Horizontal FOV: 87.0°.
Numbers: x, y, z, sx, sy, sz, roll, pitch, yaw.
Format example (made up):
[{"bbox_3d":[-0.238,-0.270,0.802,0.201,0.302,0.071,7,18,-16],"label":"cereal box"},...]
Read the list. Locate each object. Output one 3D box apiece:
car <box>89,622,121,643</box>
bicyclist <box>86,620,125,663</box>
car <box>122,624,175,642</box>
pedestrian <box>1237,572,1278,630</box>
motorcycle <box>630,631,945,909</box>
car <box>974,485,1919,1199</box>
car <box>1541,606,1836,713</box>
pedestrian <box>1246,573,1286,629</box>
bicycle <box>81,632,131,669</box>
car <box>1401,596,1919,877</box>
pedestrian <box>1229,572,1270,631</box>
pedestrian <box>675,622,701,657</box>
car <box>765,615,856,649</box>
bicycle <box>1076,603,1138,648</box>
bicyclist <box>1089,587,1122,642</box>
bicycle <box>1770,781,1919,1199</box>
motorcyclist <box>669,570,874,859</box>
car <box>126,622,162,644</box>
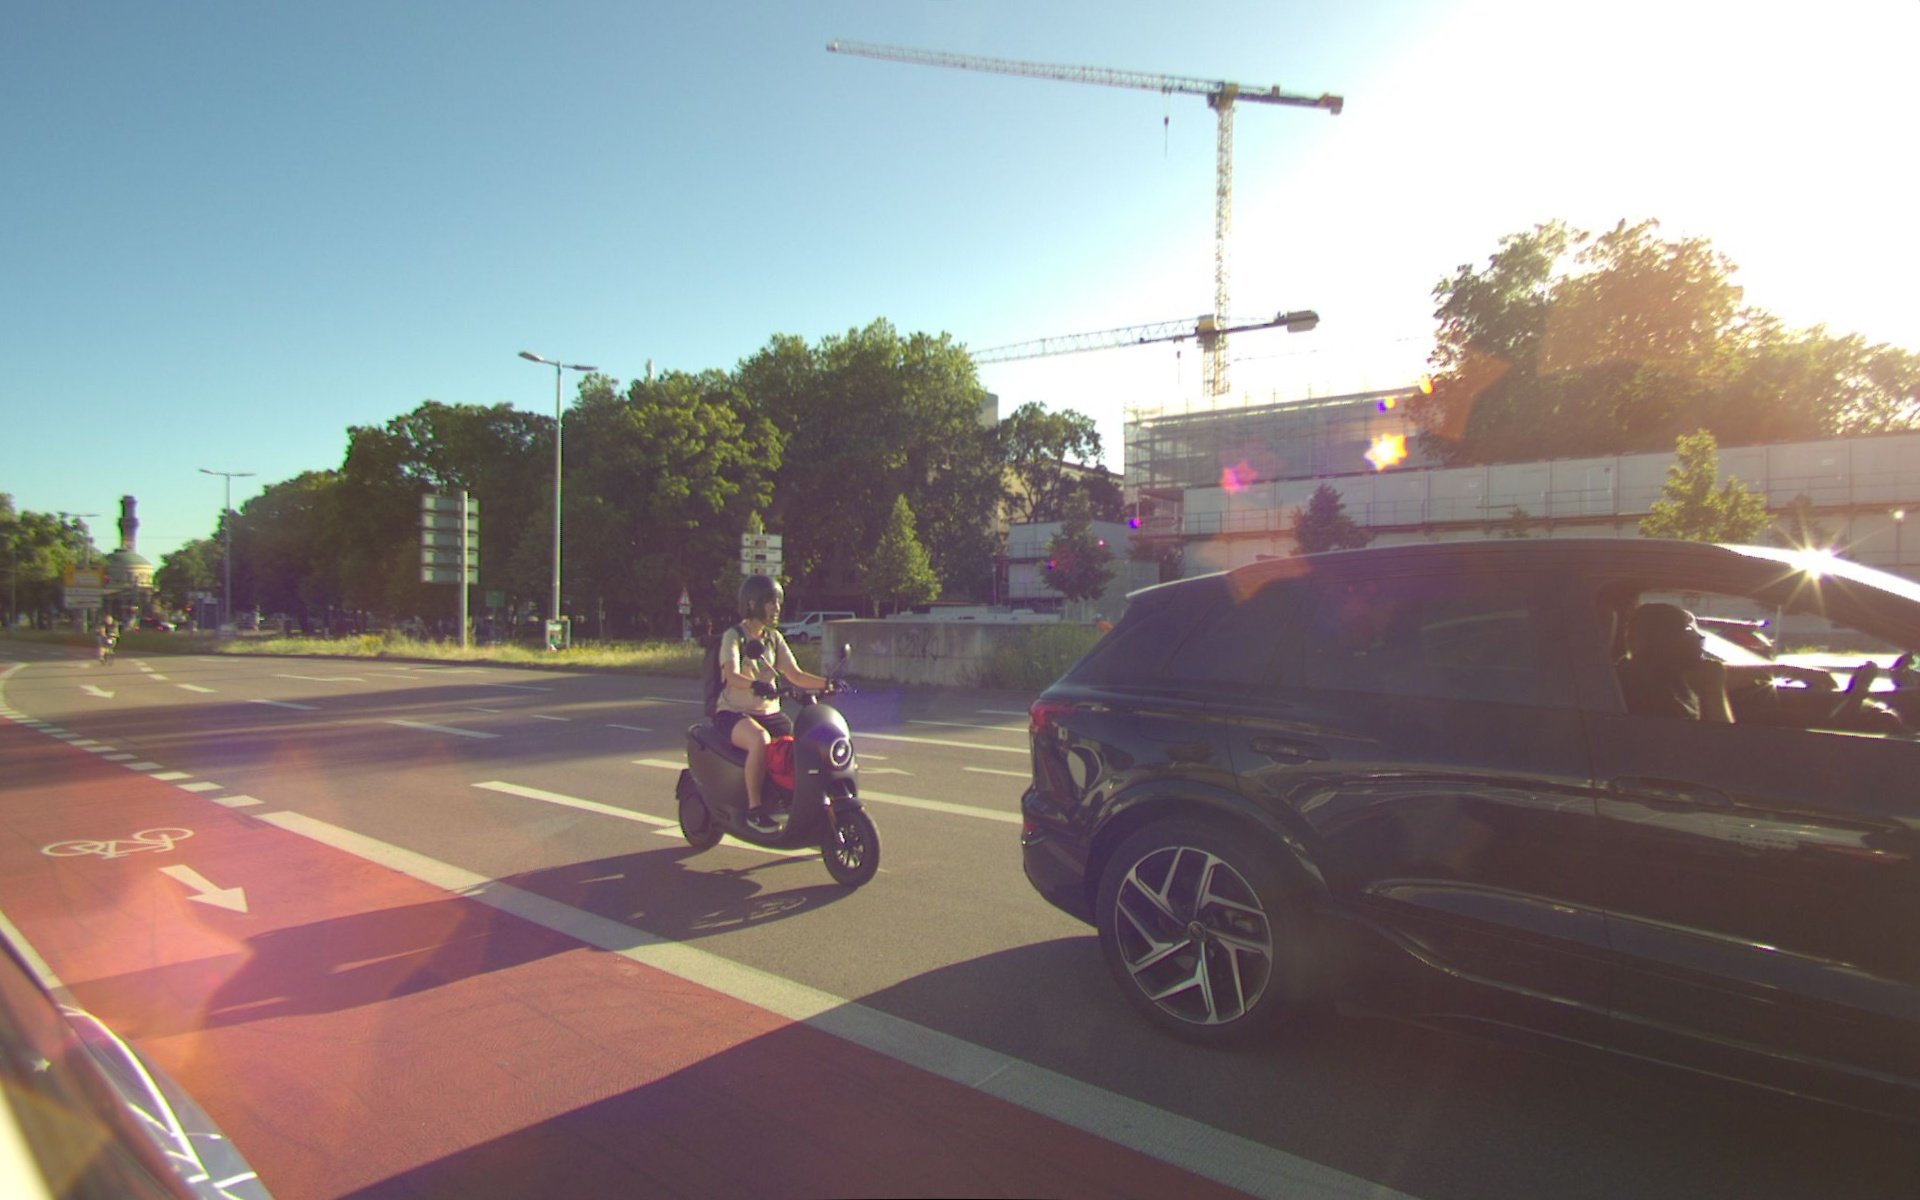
[{"bbox_3d":[-79.871,3.023,94.528,3.945,1.802,1.725,-1,0,41],"label":"car"},{"bbox_3d":[-27.876,1.351,33.021,0.829,1.358,0.843,-2,-1,41],"label":"bicyclist"},{"bbox_3d":[-90.660,3.681,113.094,4.513,1.851,1.881,-1,0,-40],"label":"car"},{"bbox_3d":[10.641,0.048,36.201,1.135,2.029,0.930,-1,0,35],"label":"pedestrian"},{"bbox_3d":[-1.032,0.839,5.728,1.883,1.303,0.715,-2,-1,41],"label":"motorcycle"},{"bbox_3d":[2.416,0.574,3.024,4.677,1.647,1.753,-1,0,40],"label":"car"},{"bbox_3d":[12.168,0.926,17.088,3.894,1.597,1.637,-1,-2,39],"label":"car"},{"bbox_3d":[11.195,0.041,37.009,1.135,2.029,0.930,-1,0,35],"label":"pedestrian"},{"bbox_3d":[-27.862,1.627,32.990,2.806,1.124,0.843,-2,-1,41],"label":"bicycle"},{"bbox_3d":[4.975,0.752,6.544,3.603,1.497,1.477,-2,-1,41],"label":"car"},{"bbox_3d":[10.119,0.056,35.385,1.135,2.029,0.930,-1,0,35],"label":"pedestrian"},{"bbox_3d":[-14.932,2.155,55.618,1.018,1.845,0.976,-1,0,40],"label":"pedestrian"},{"bbox_3d":[-9.062,1.919,61.842,2.065,1.950,5.443,-1,-2,42],"label":"car"},{"bbox_3d":[3.963,0.679,27.340,1.649,1.163,0.490,-1,0,40],"label":"bicycle"},{"bbox_3d":[3.935,0.387,27.362,0.713,1.448,0.490,-1,0,39],"label":"bicyclist"},{"bbox_3d":[1.395,0.789,0.253,1.829,1.227,0.610,-2,-1,39],"label":"bicycle"},{"bbox_3d":[-1.079,0.593,5.768,0.917,1.485,0.717,-2,-1,41],"label":"motorcyclist"},{"bbox_3d":[-71.438,2.841,88.605,3.998,1.841,1.796,-1,0,41],"label":"car"}]
